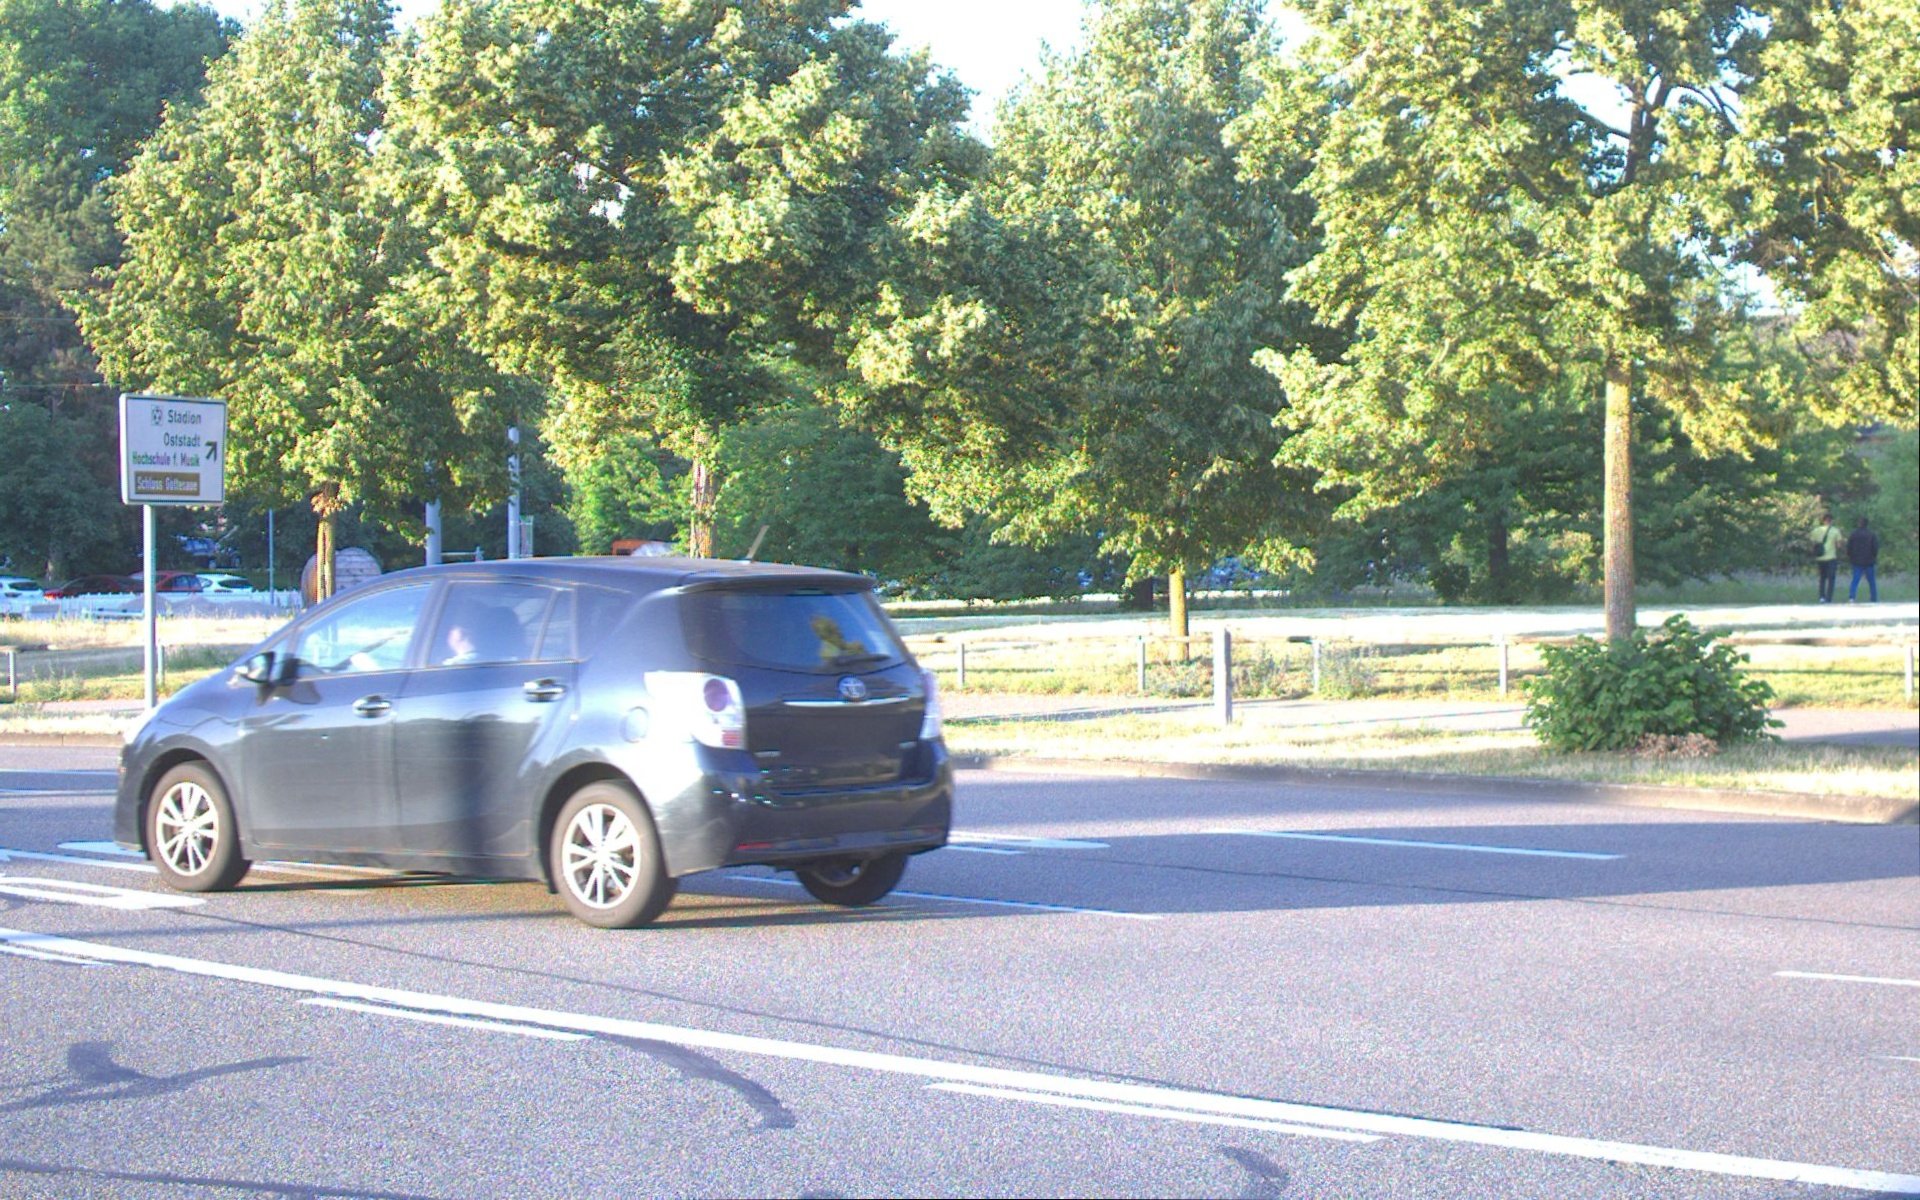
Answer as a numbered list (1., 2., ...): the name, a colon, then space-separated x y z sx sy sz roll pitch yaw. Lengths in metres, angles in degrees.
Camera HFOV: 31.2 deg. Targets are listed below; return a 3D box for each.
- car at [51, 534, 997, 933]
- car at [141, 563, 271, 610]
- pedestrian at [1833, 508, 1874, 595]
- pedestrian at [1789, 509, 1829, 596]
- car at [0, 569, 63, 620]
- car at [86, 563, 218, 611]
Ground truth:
1. car: -2.137 0.536 16.120 4.451 1.627 1.799 0 0 38
2. car: -25.478 -0.463 116.189 3.994 1.545 1.997 0 1 31
3. pedestrian: 16.754 -0.918 64.470 0.530 1.621 0.619 0 1 39
4. pedestrian: 15.959 -0.890 64.640 0.532 1.621 0.579 0 1 38
5. car: -30.360 -0.192 107.998 3.994 1.545 1.997 0 1 31
6. car: -26.836 -0.451 114.163 3.994 1.545 1.997 0 1 31
